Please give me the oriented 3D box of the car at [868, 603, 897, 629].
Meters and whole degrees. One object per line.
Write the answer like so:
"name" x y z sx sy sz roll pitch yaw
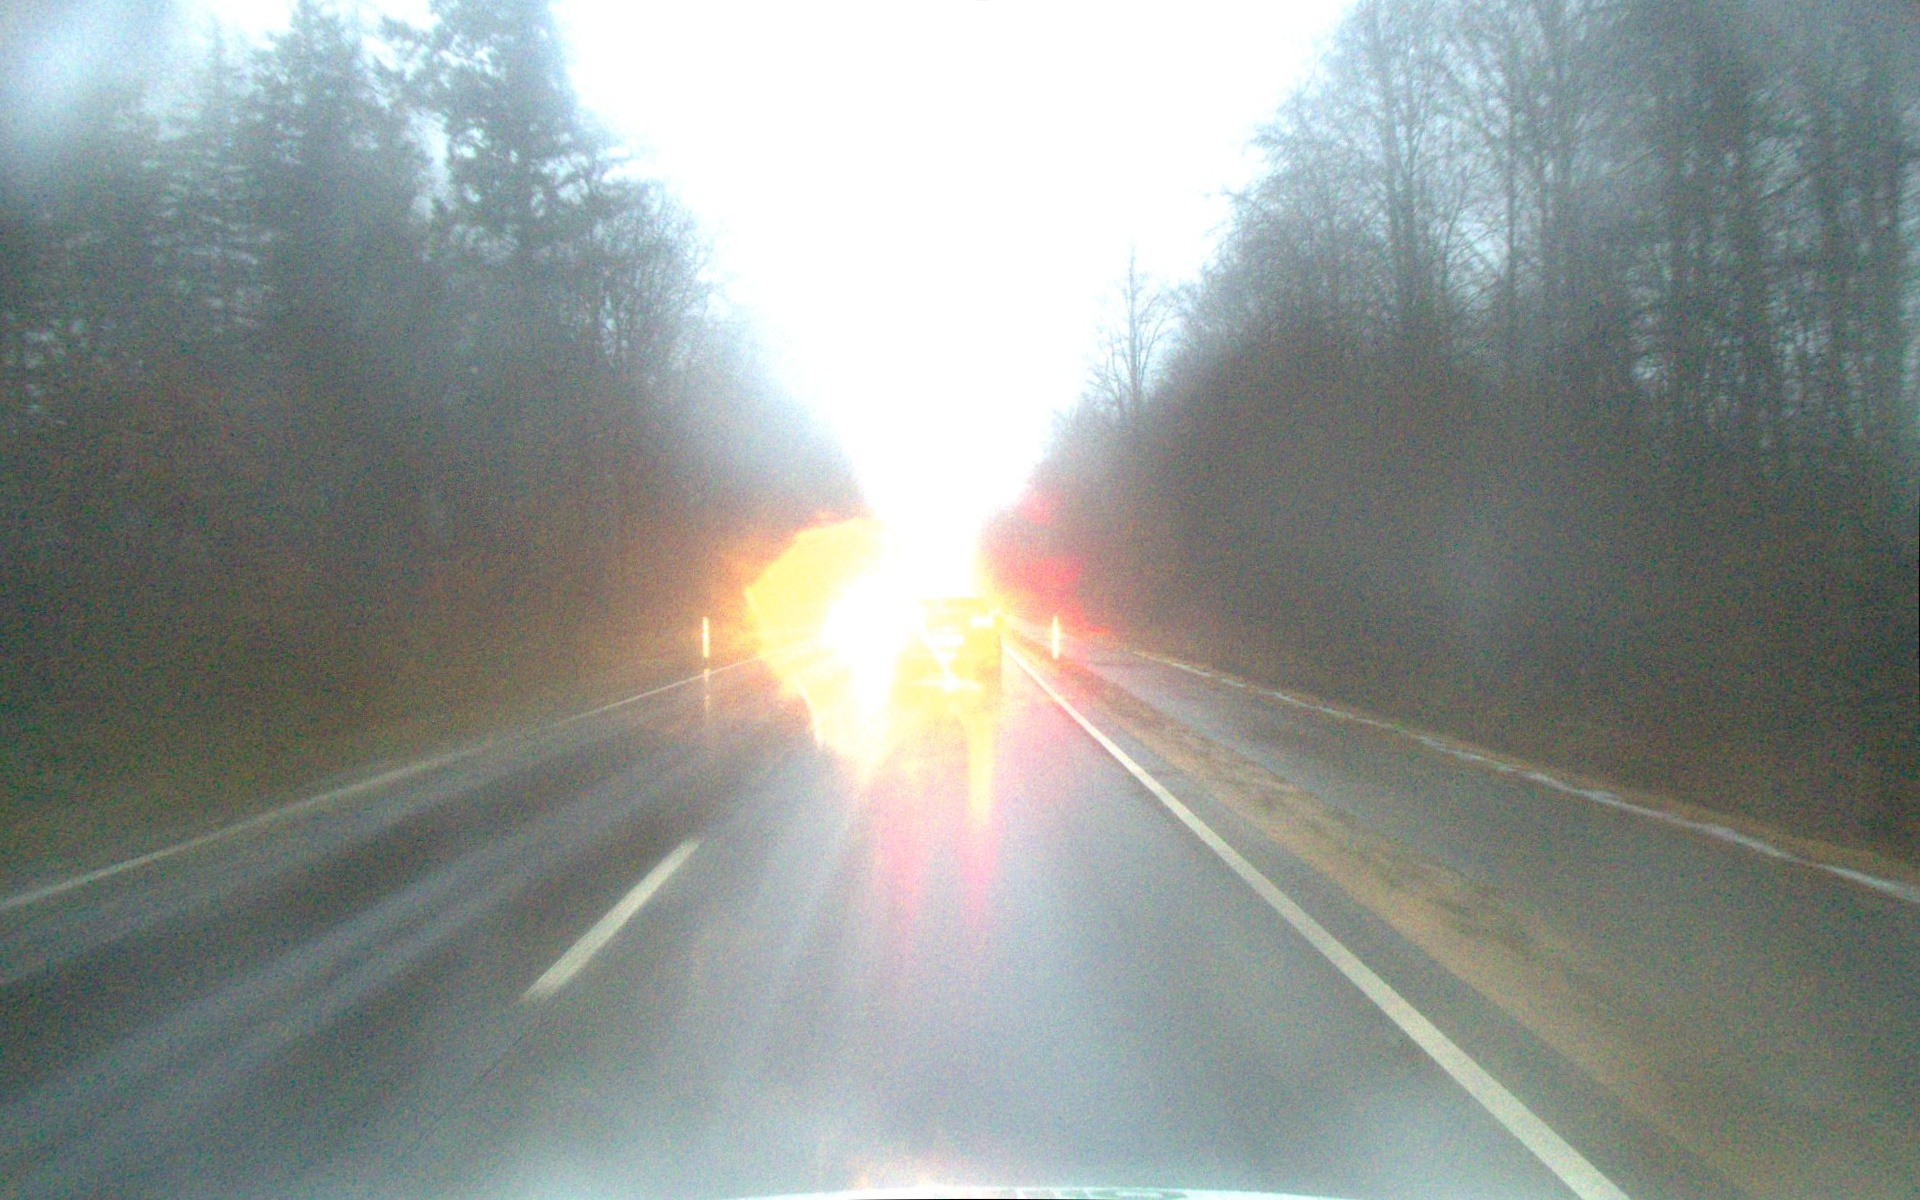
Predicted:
"car" -4.375 0.893 93.704 1.482 1.438 3.660 -1 0 0
